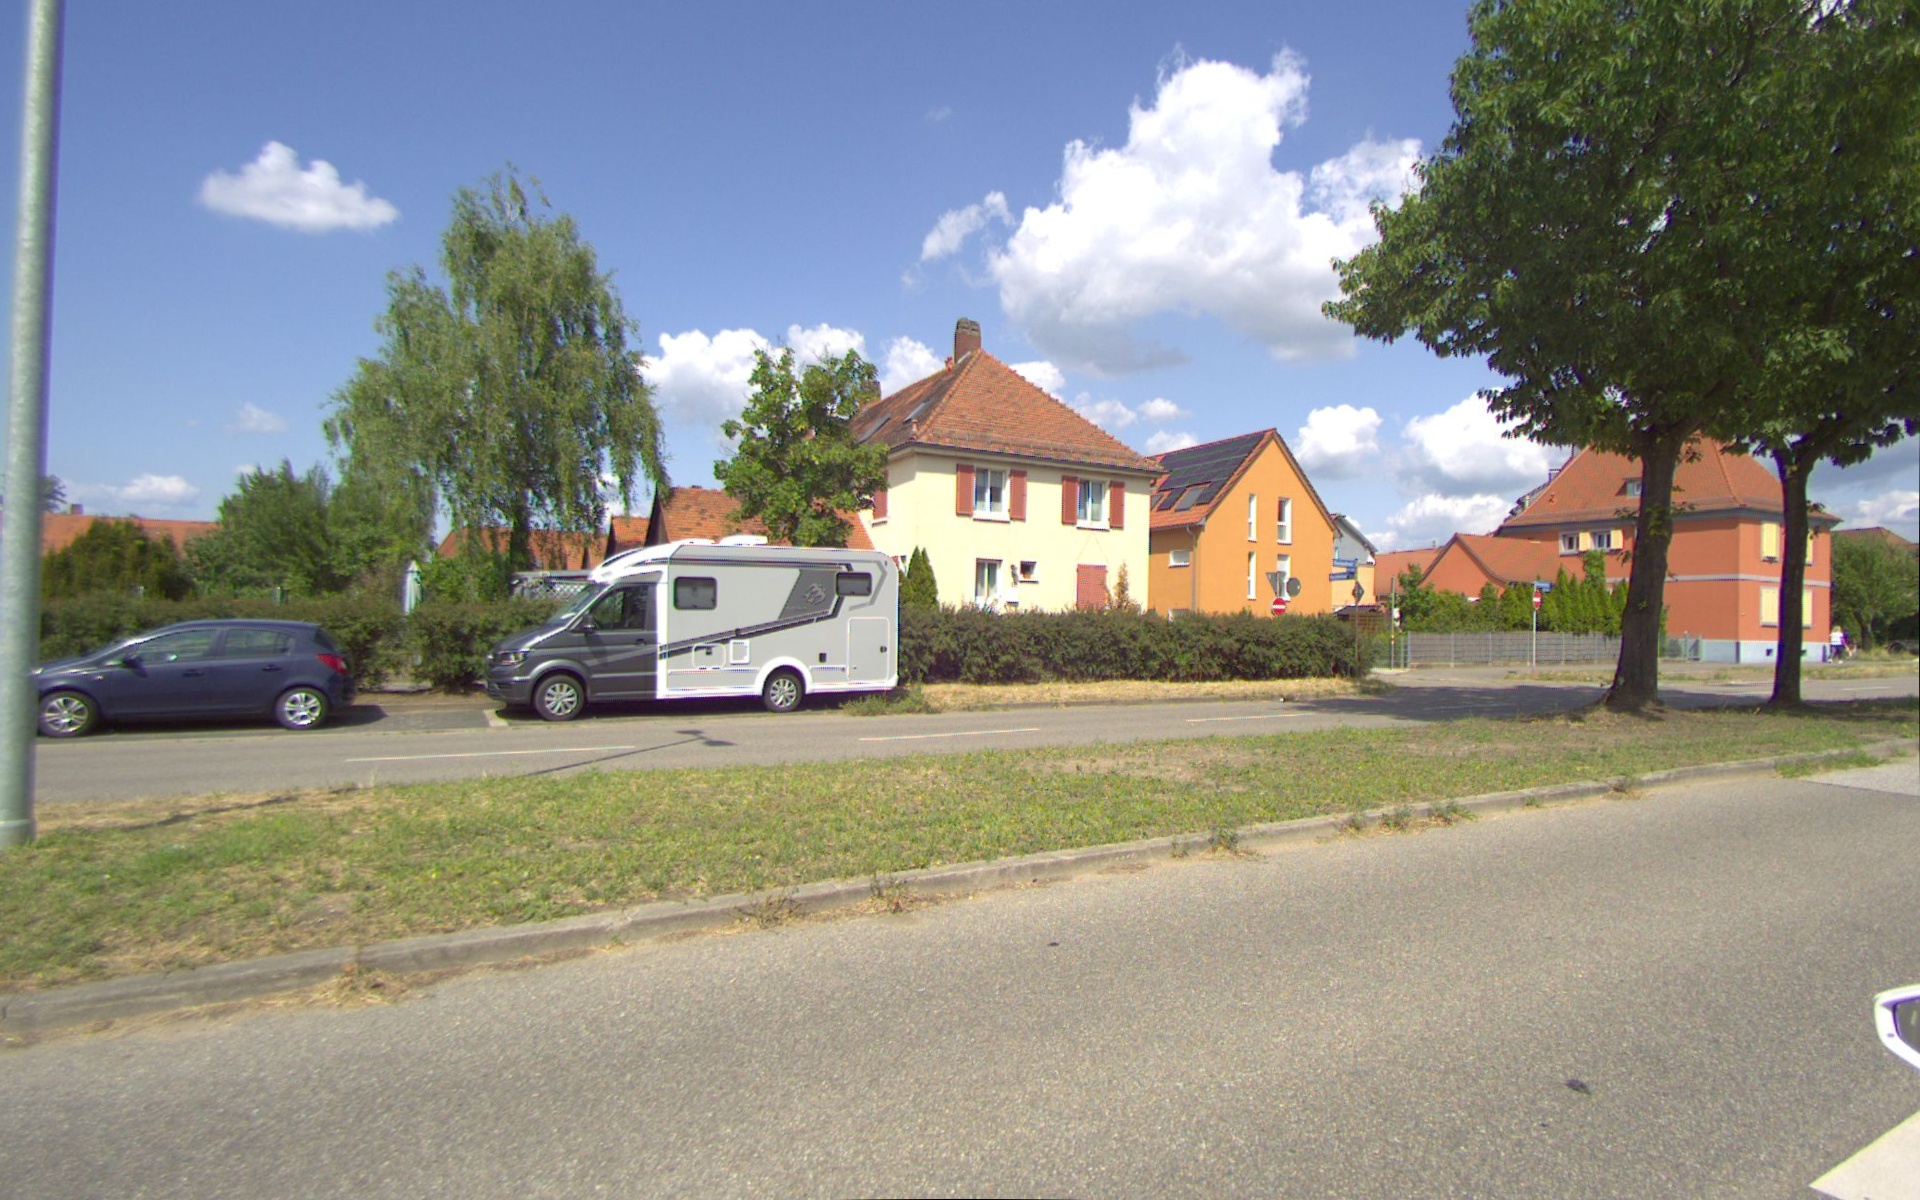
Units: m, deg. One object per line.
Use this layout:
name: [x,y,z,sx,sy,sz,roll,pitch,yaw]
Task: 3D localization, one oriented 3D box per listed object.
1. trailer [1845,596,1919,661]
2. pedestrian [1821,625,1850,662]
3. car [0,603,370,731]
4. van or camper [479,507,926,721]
trailer: [63.061,1.771,62.697,3.580,4.064,11.261,2,-4,-22]
pedestrian: [38.567,1.917,44.251,0.841,1.604,0.693,2,0,-29]
car: [-10.487,0.893,13.852,3.945,1.505,1.629,3,0,-30]
van or camper: [-4.340,0.256,17.560,7.229,3.154,2.249,1,1,-29]
